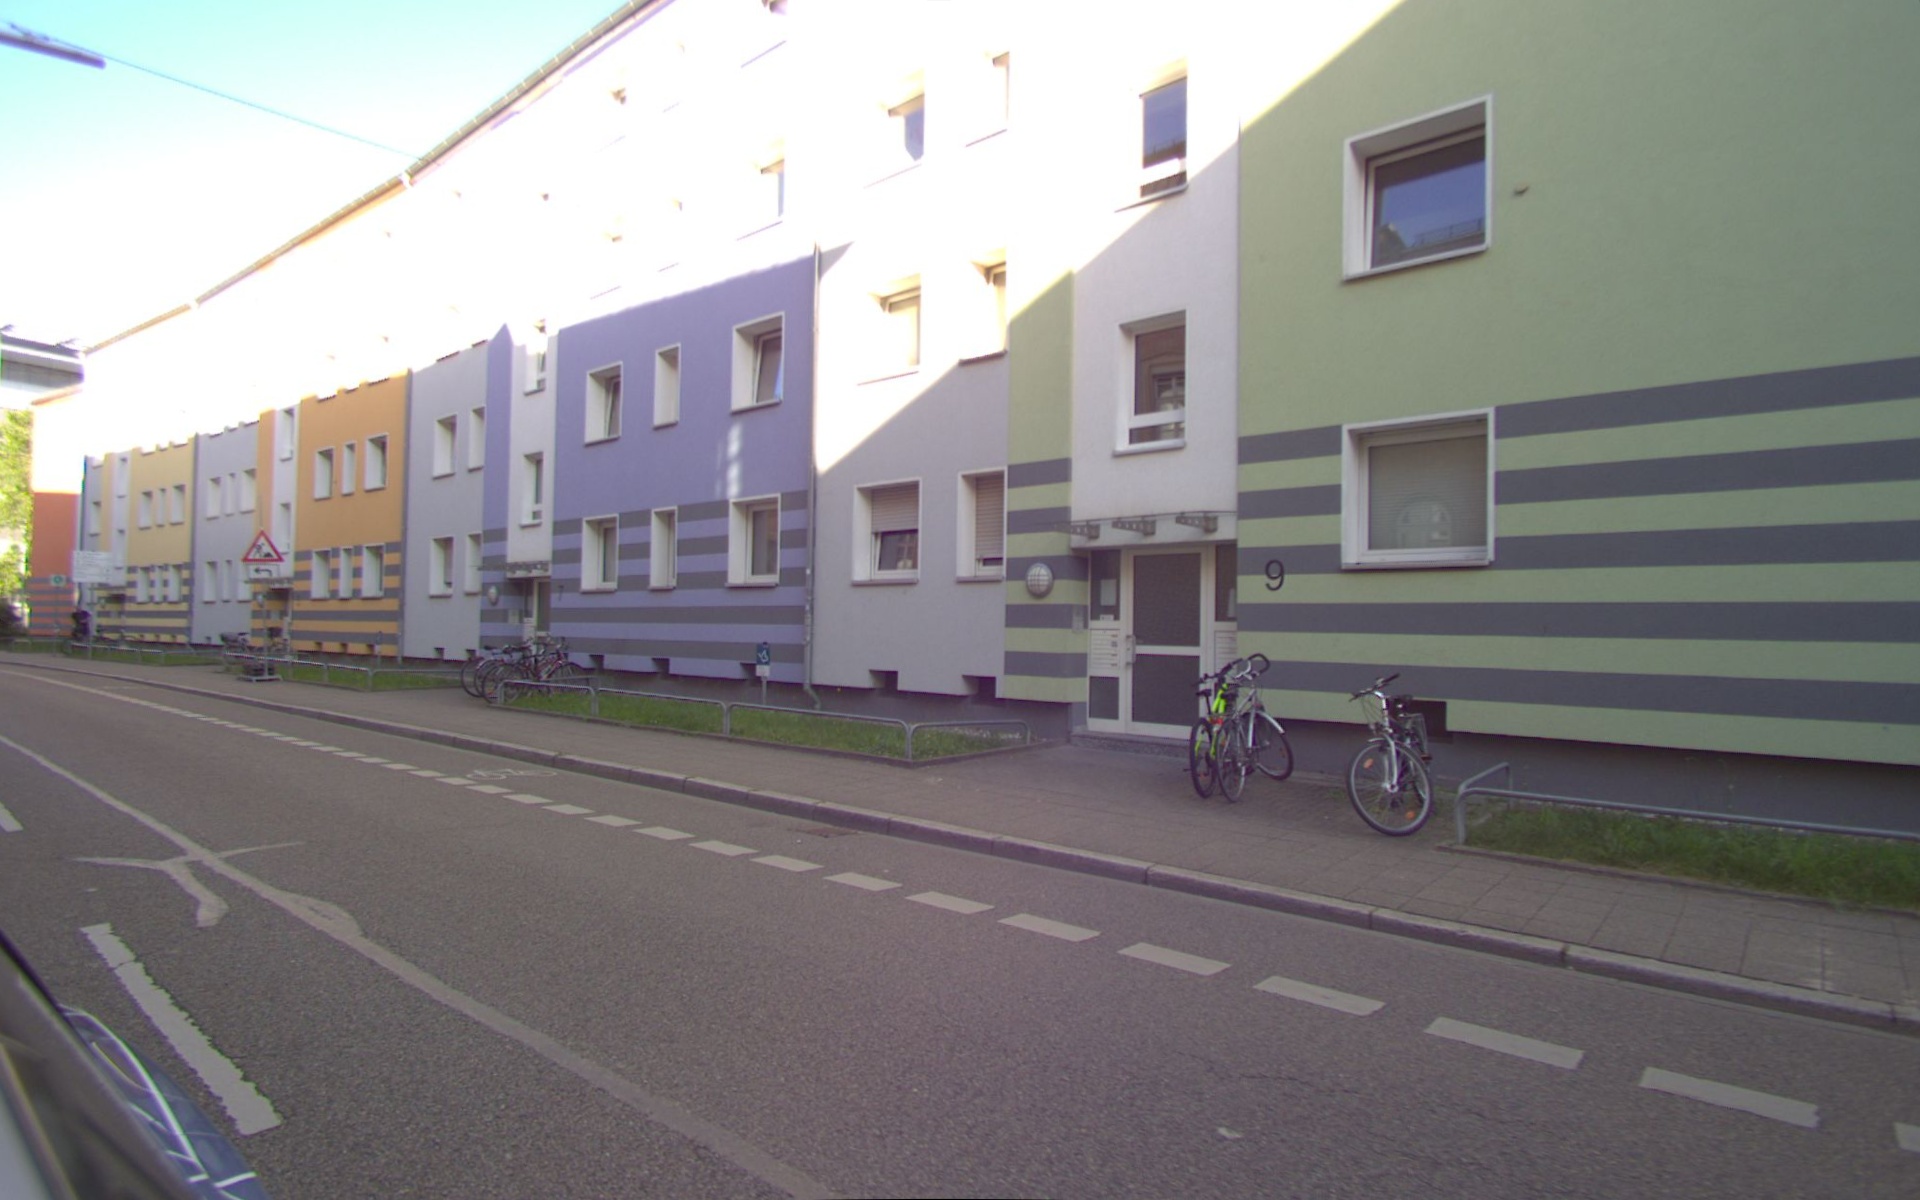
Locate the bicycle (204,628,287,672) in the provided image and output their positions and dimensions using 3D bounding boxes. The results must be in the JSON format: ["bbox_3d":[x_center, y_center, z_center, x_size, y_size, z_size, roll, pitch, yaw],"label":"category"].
[{"bbox_3d":[-19.648,1.361,27.864,0.648,1.154,1.739,0,-2,30],"label":"bicycle"}]

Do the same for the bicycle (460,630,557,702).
[{"bbox_3d":[-8.221,1.184,18.487,0.448,1.251,1.569,-1,-2,37],"label":"bicycle"}]

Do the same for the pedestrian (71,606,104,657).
[{"bbox_3d":[-32.295,1.169,37.472,0.709,1.869,0.872,2,-2,-31],"label":"pedestrian"}]

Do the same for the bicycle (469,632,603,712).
[{"bbox_3d":[-7.015,1.169,16.843,0.622,1.241,1.989,-1,-2,37],"label":"bicycle"}]

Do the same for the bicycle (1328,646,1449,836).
[{"bbox_3d":[3.393,1.011,7.920,0.611,1.188,1.915,0,1,31],"label":"bicycle"}]

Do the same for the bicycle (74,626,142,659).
[{"bbox_3d":[-30.790,1.542,36.586,0.648,1.154,1.739,0,-2,30],"label":"bicycle"}]

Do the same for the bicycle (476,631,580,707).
[{"bbox_3d":[-7.433,1.165,17.470,0.466,1.251,1.623,-1,-2,37],"label":"bicycle"}]

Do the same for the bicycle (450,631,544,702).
[{"bbox_3d":[-8.547,1.211,18.746,0.383,1.251,1.565,-1,-2,37],"label":"bicycle"}]

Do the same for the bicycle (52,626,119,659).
[{"bbox_3d":[-32.081,1.550,37.155,0.648,1.154,1.739,0,-2,30],"label":"bicycle"}]

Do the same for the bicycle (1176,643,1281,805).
[{"bbox_3d":[2.445,1.033,9.078,0.610,1.188,1.919,0,1,24],"label":"bicycle"}]
